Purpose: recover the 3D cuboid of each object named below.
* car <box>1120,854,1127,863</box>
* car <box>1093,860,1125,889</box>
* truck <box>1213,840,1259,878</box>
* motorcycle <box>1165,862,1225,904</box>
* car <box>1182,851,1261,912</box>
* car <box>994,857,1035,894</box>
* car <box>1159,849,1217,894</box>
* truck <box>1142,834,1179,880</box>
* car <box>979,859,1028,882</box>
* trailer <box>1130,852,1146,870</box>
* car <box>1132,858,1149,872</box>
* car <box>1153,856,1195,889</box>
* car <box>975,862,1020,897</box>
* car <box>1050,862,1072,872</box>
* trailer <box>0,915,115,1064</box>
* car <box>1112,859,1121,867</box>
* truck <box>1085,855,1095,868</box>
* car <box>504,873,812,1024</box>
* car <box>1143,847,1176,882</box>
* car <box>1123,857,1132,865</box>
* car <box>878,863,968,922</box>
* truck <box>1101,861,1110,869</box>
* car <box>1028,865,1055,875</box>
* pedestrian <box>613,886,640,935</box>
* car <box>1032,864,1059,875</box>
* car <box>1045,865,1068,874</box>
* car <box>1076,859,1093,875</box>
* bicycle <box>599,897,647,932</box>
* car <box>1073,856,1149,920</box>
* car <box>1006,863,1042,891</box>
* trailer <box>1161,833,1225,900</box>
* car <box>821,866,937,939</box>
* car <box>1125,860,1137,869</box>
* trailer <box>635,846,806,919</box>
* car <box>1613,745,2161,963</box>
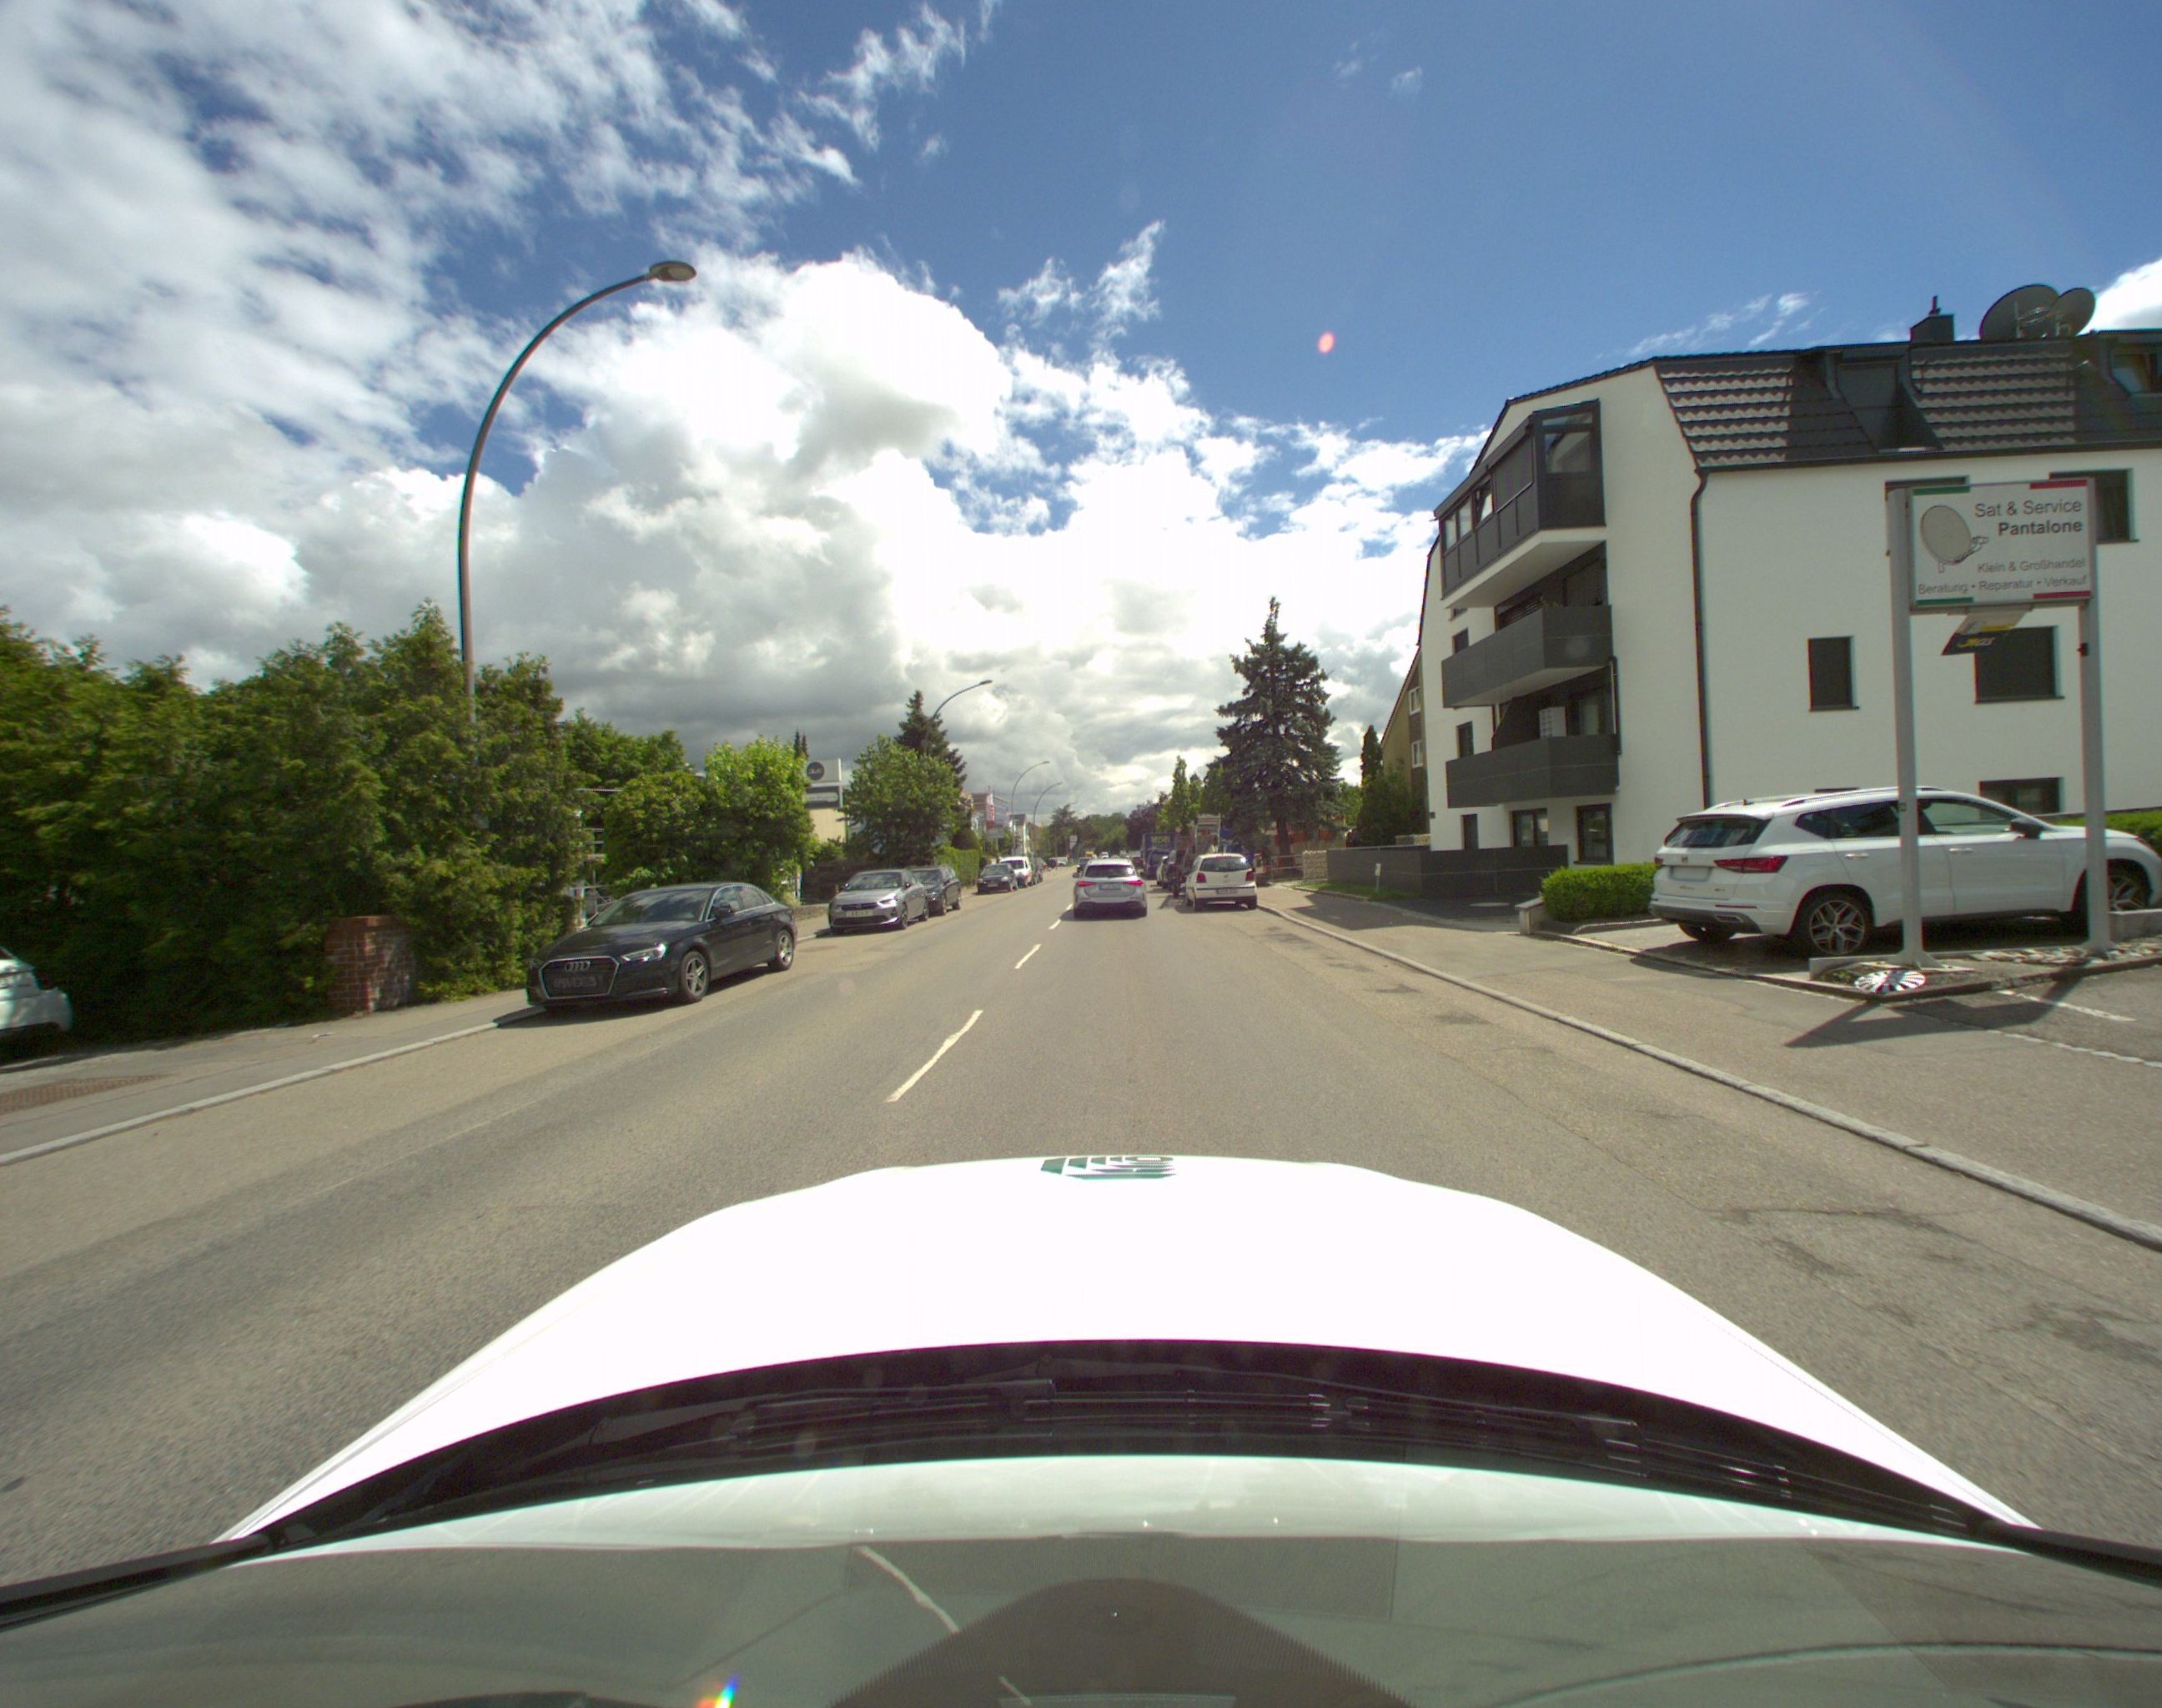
[{"bbox_3d":[12.629,1.277,242.586,1.778,2.518,4.316,-2,-1,1],"label":"car"},{"bbox_3d":[1.621,1.163,47.455,1.749,1.558,4.001,-2,0,2],"label":"car"},{"bbox_3d":[9.717,0.256,51.457,1.823,2.081,5.387,-6,1,1],"label":"truck"},{"bbox_3d":[3.647,0.903,25.913,1.830,1.210,0.710,-3,0,-33],"label":"motorcycle"},{"bbox_3d":[3.781,0.687,22.545,1.711,1.432,3.988,-4,0,4],"label":"car"},{"bbox_3d":[-3.764,1.180,46.944,1.737,1.838,4.356,-6,0,1],"label":"car"},{"bbox_3d":[4.561,0.716,35.436,1.867,1.727,4.713,-3,0,1],"label":"car"},{"bbox_3d":[5.667,0.188,58.730,2.311,3.097,6.046,-1,0,3],"label":"truck"},{"bbox_3d":[-7.595,1.616,80.150,4.638,1.972,2.114,-3,0,-2],"label":"car"},{"bbox_3d":[7.694,1.006,110.476,1.935,2.294,4.446,-3,-1,1],"label":"trailer"},{"bbox_3d":[7.207,1.329,99.153,1.933,1.571,4.451,-3,0,4],"label":"car"},{"bbox_3d":[4.658,0.890,41.279,1.766,1.508,4.002,-3,0,2],"label":"car"},{"bbox_3d":[-4.175,1.262,41.024,1.634,1.487,4.001,-6,0,1],"label":"car"},{"bbox_3d":[-4.042,2.601,164.811,4.264,1.836,1.991,-3,-4,1],"label":"car"},{"bbox_3d":[-13.082,1.622,8.434,3.971,1.459,1.801,-6,-1,2],"label":"trailer"},{"bbox_3d":[7.439,1.855,169.824,1.749,1.558,4.001,-2,0,2],"label":"car"},{"bbox_3d":[2.298,1.851,203.779,2.066,2.814,7.084,-4,0,4],"label":"truck"},{"bbox_3d":[-5.279,1.066,10.949,1.656,1.414,4.340,-4,0,2],"label":"car"},{"bbox_3d":[5.091,0.663,53.197,1.866,2.169,4.467,-1,0,3],"label":"car"},{"bbox_3d":[11.601,1.794,204.986,2.135,1.984,5.265,-3,-1,3],"label":"car"},{"bbox_3d":[-4.732,1.107,25.033,1.714,1.493,4.736,-4,0,1],"label":"car"},{"bbox_3d":[7.023,3.062,232.058,2.308,2.178,6.456,-4,0,4],"label":"truck"},{"bbox_3d":[-5.965,2.401,123.287,4.138,1.492,1.825,-1,0,-2],"label":"car"},{"bbox_3d":[-15.986,1.974,28.639,0.521,1.647,0.497,-5,-1,1],"label":"pedestrian"},{"bbox_3d":[-6.390,2.800,147.113,4.614,1.632,2.196,-6,0,-2],"label":"car"},{"bbox_3d":[-4.861,3.081,159.521,4.262,1.567,1.992,-3,-4,2],"label":"car"},{"bbox_3d":[0.433,1.451,89.966,1.737,1.627,4.358,-2,0,2],"label":"car"},{"bbox_3d":[-16.529,2.159,29.447,0.468,1.086,2.185,-1,0,2],"label":"bicycle"},{"bbox_3d":[0.737,0.811,21.432,1.778,1.484,4.316,-2,0,1],"label":"car"},{"bbox_3d":[-3.600,1.417,52.141,1.737,1.472,4.645,-6,0,1],"label":"car"},{"bbox_3d":[3.957,0.423,29.384,1.766,2.145,4.116,-3,0,2],"label":"trailer"},{"bbox_3d":[-4.891,1.120,20.319,1.714,1.432,4.199,-4,0,1],"label":"car"},{"bbox_3d":[9.030,1.929,146.250,1.786,1.450,4.363,-4,0,0],"label":"car"},{"bbox_3d":[-16.076,1.234,36.624,6.217,2.651,2.734,-5,0,2],"label":"trailer"},{"bbox_3d":[8.493,-0.001,8.755,4.177,1.654,1.868,-6,0,1],"label":"car"}]
